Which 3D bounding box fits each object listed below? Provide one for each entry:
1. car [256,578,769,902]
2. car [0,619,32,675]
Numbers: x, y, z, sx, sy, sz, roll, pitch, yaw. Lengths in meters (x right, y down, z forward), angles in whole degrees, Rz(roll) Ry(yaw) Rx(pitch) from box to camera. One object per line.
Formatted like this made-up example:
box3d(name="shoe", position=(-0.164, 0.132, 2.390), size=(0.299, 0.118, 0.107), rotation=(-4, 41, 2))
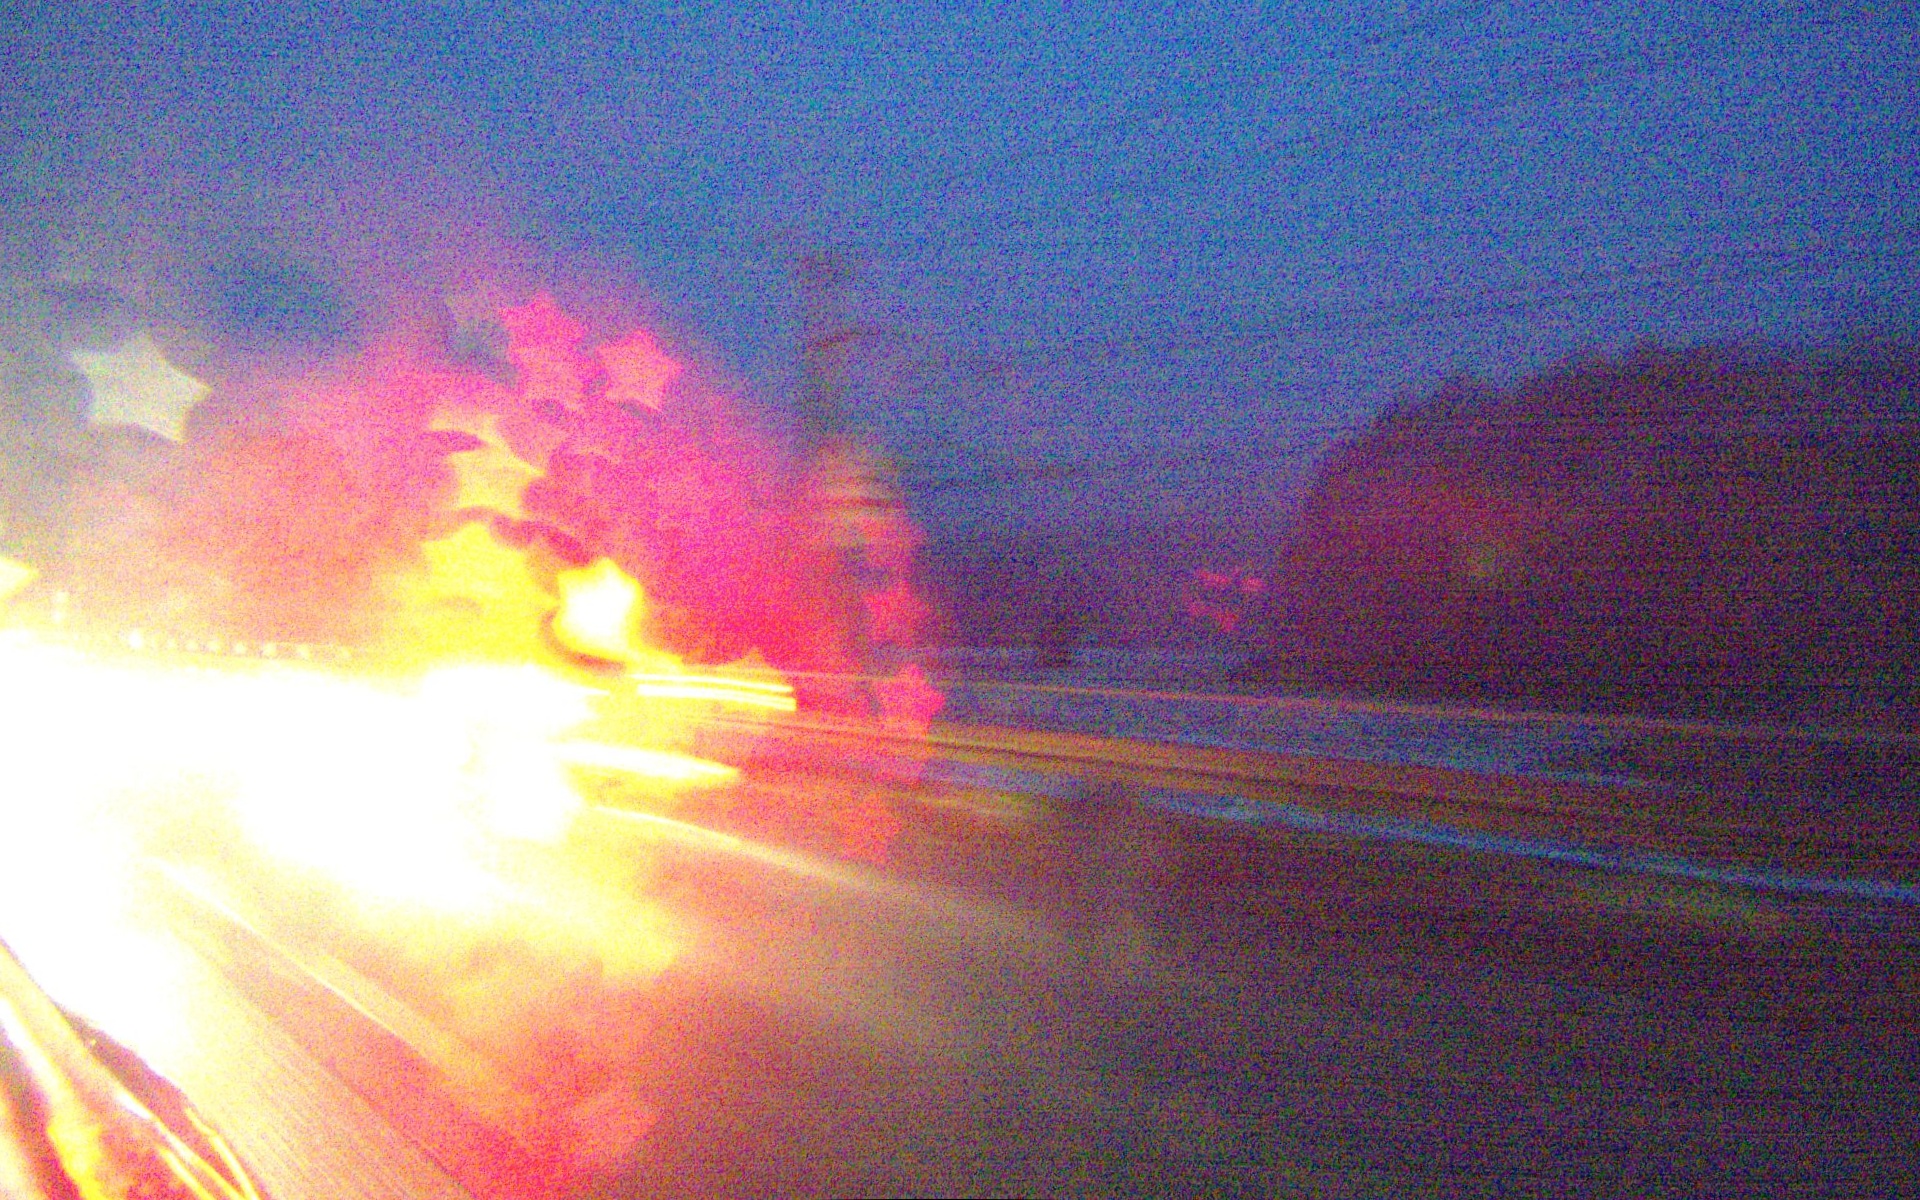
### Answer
box3d(name="car", position=(-3.347, 0.766, 7.219), size=(3.998, 1.659, 1.811), rotation=(-1, -2, 41))
box3d(name="car", position=(-28.018, 1.325, 28.817), size=(4.094, 1.484, 1.926), rotation=(-1, 0, 41))
